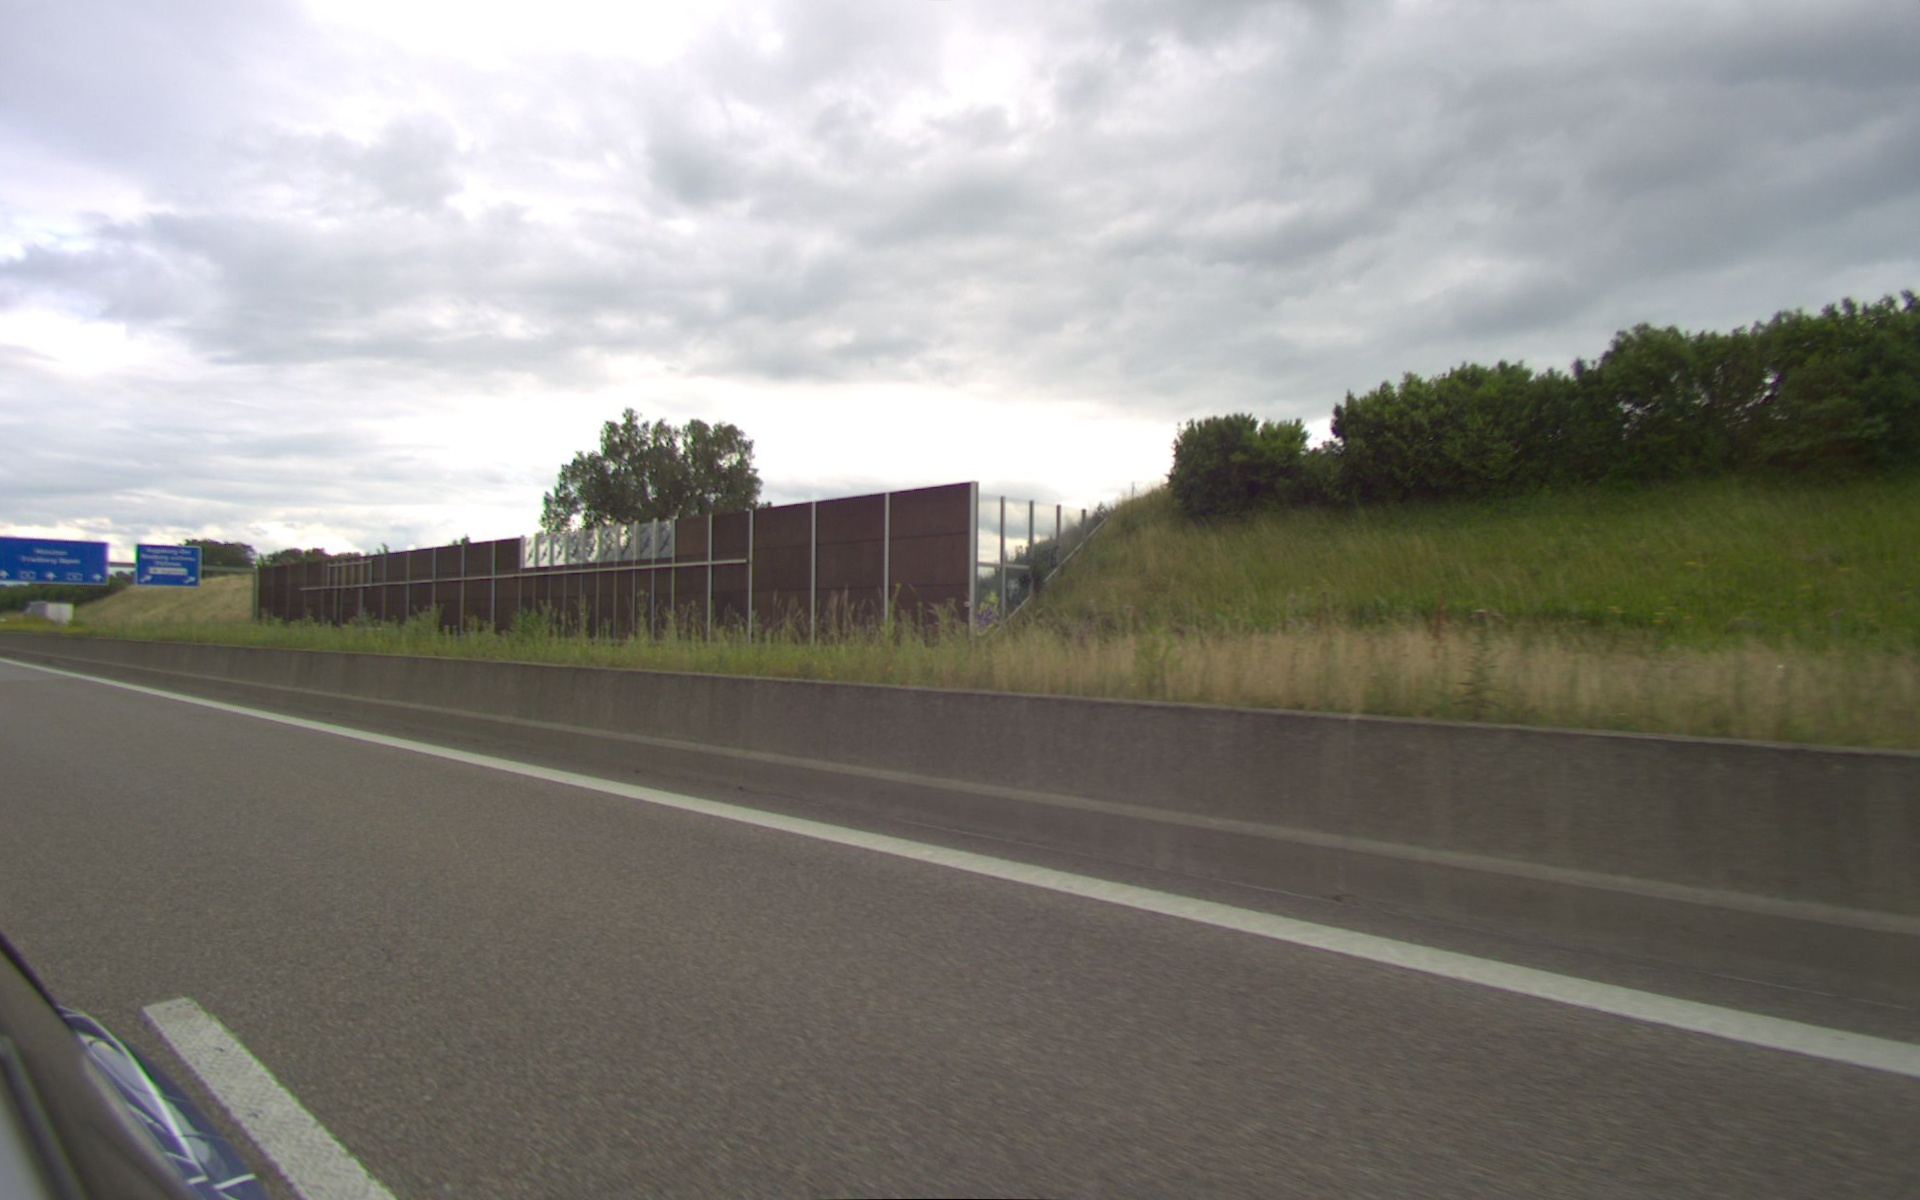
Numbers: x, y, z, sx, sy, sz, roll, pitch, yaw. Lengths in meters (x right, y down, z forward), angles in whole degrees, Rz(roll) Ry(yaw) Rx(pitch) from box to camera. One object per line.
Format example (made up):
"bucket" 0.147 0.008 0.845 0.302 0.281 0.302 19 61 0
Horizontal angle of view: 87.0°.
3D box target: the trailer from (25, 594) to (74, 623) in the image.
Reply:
"trailer" -111.747 1.081 124.108 13.503 3.402 2.790 -1 -2 41
